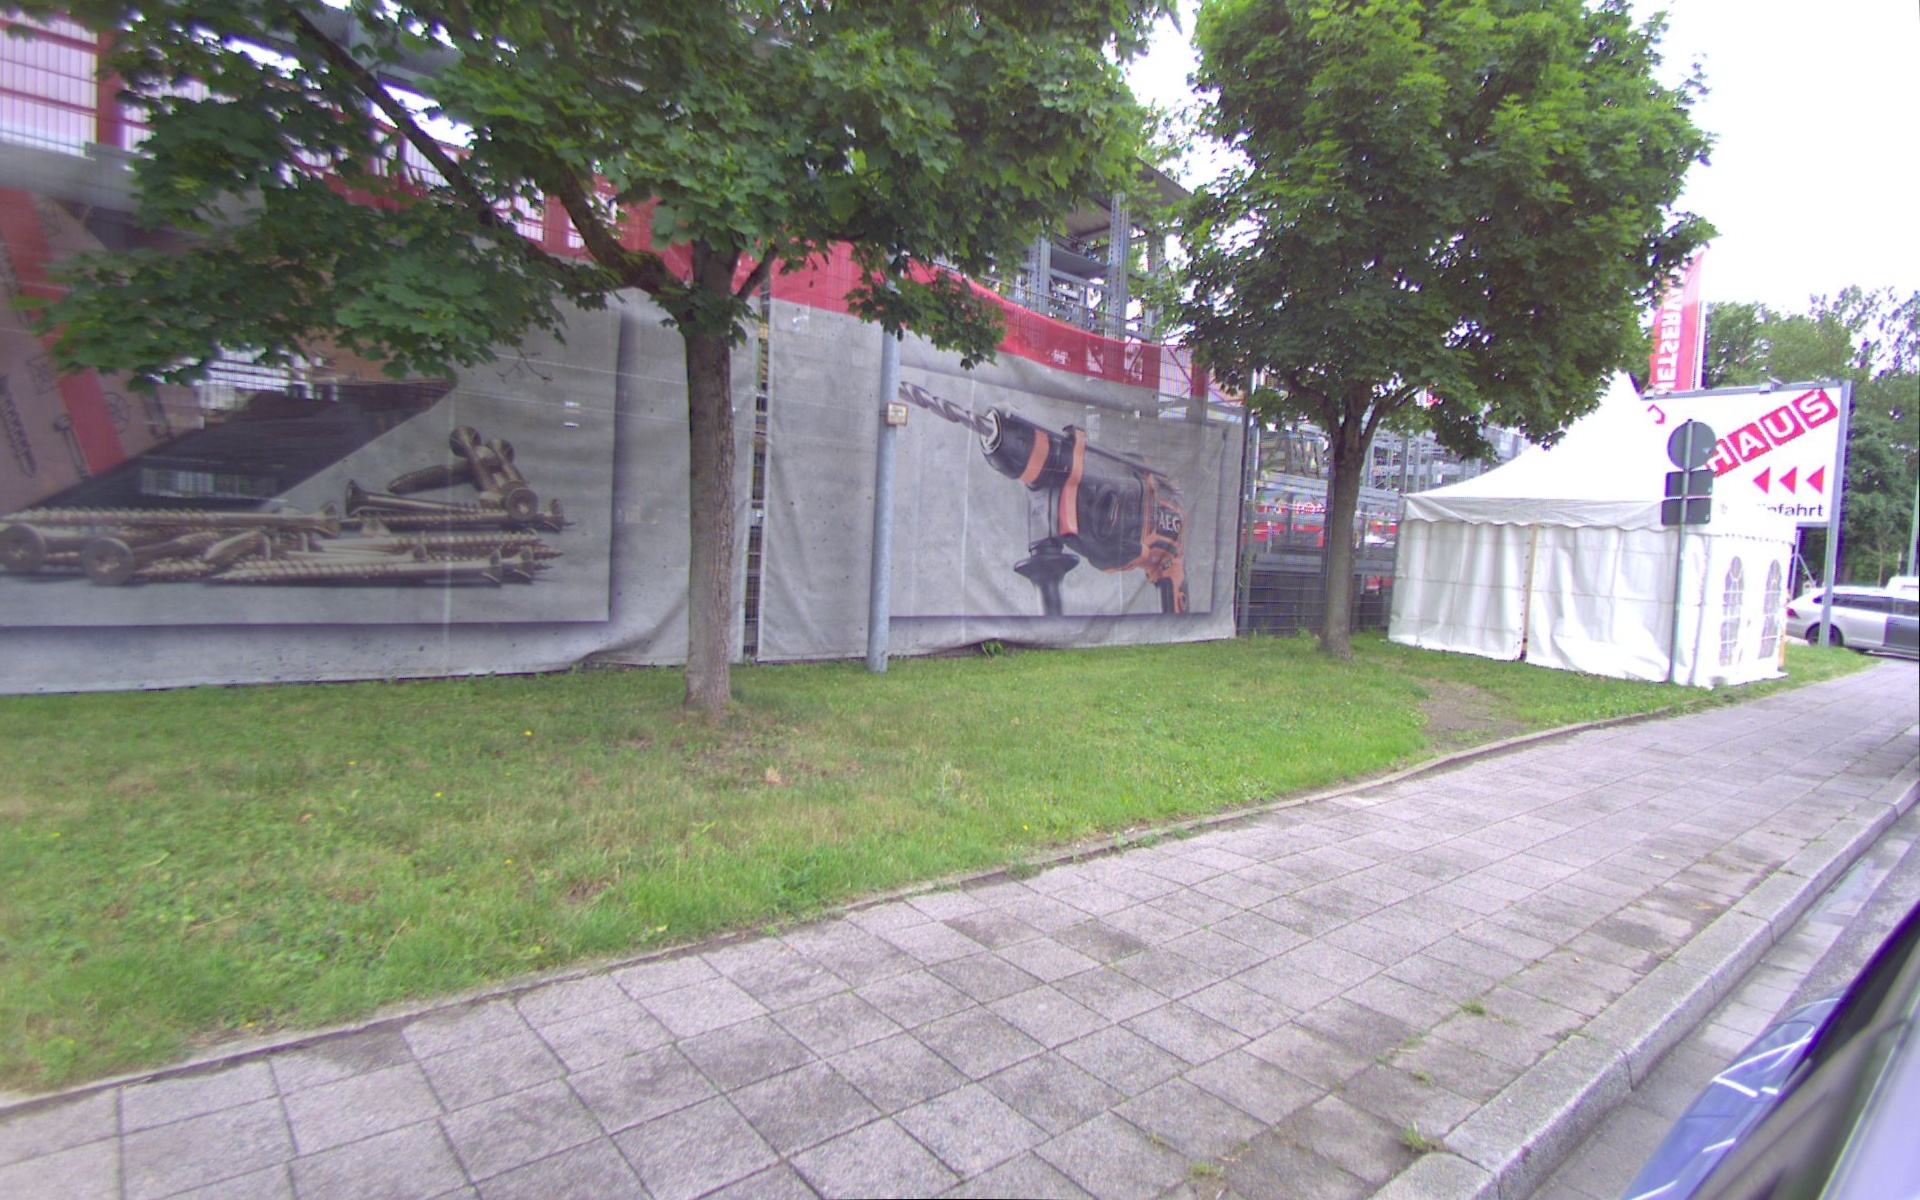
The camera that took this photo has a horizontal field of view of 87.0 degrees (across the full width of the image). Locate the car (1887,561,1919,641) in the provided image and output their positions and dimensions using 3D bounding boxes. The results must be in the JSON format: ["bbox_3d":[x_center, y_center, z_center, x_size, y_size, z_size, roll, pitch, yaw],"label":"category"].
[{"bbox_3d":[24.264,0.233,23.031,1.769,1.828,4.381,0,7,-41],"label":"car"}]

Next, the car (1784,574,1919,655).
[{"bbox_3d":[20.544,0.315,21.961,1.739,1.603,3.699,1,2,-22],"label":"car"}]

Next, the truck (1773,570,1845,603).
[{"bbox_3d":[68.980,-1.105,82.253,3.924,2.425,2.001,3,3,-1],"label":"truck"}]
